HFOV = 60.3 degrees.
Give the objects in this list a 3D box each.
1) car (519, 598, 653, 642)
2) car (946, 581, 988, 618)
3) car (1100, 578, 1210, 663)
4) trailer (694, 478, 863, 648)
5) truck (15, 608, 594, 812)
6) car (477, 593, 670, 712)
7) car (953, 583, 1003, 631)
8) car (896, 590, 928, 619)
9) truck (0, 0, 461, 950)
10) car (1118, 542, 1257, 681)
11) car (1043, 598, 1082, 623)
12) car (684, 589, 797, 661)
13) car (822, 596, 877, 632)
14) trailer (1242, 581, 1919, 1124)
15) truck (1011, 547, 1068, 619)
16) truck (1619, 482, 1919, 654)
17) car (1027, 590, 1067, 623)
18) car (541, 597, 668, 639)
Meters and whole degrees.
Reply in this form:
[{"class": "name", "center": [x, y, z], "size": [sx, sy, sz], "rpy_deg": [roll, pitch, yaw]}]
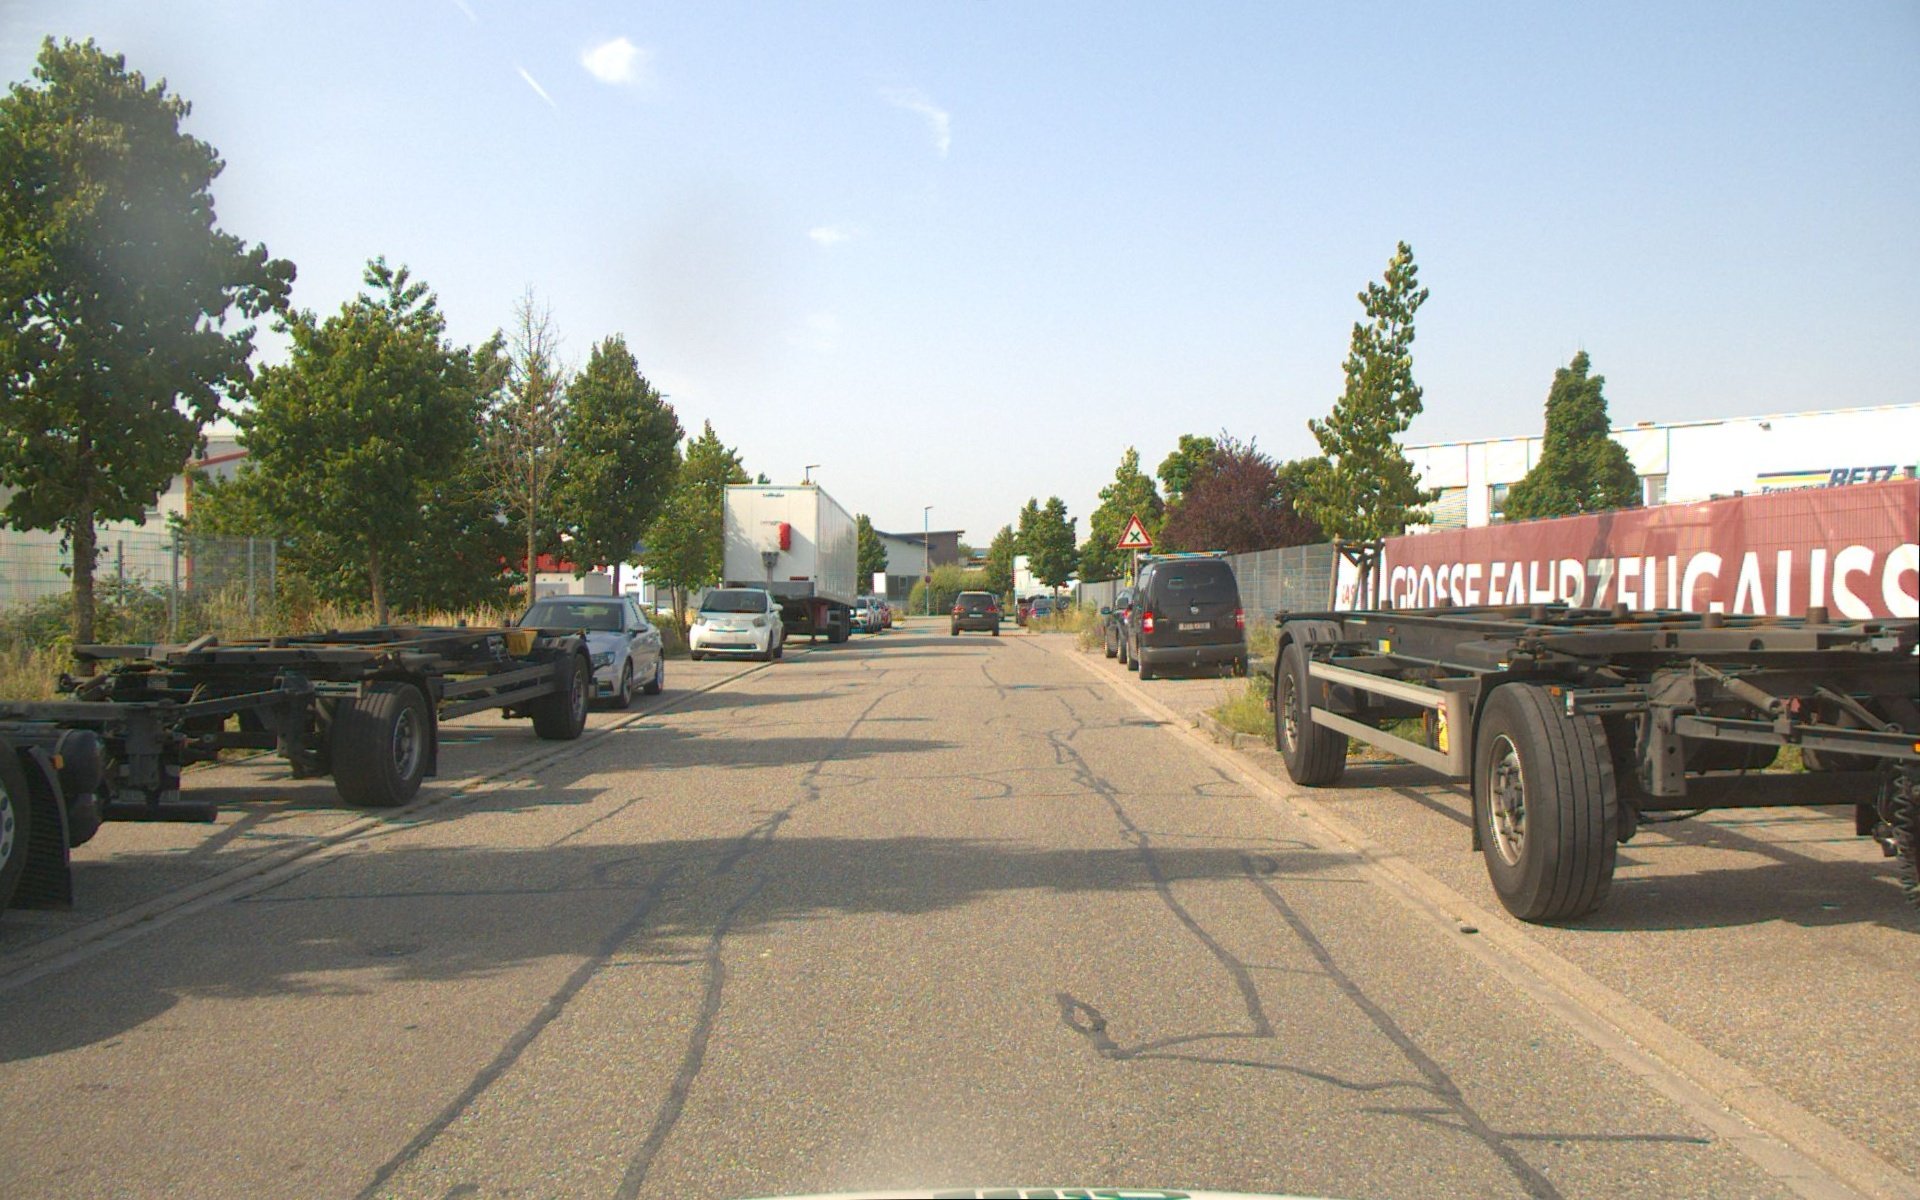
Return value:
[{"class": "car", "center": [-12.115, 0.639, 53.681], "size": [3.902, 1.363, 1.618], "rpy_deg": [0, 0, 7]}, {"class": "car", "center": [0.376, -0.059, 83.646], "size": [1.952, 1.836, 4.002], "rpy_deg": [0, 1, 3]}, {"class": "car", "center": [3.793, 0.358, 32.724], "size": [1.781, 1.474, 3.802], "rpy_deg": [-4, 1, 2]}, {"class": "trailer", "center": [-5.140, -0.975, 50.016], "size": [3.333, 4.416, 13.921], "rpy_deg": [0, 0, 1]}, {"class": "truck", "center": [-5.171, 0.763, 14.501], "size": [2.472, 1.287, 6.526], "rpy_deg": [0, 0, 0]}, {"class": "car", "center": [-5.121, 0.645, 22.445], "size": [1.847, 1.461, 3.998], "rpy_deg": [0, 0, -3]}, {"class": "car", "center": [0.736, 0.238, 65.760], "size": [1.952, 1.836, 4.001], "rpy_deg": [0, 1, 1]}, {"class": "car", "center": [-3.068, 0.281, 106.419], "size": [1.952, 1.803, 4.000], "rpy_deg": [0, 0, 0]}, {"class": "truck", "center": [-5.305, -0.543, 6.189], "size": [2.571, 3.997, 12.921], "rpy_deg": [0, 0, 2]}, {"class": "car", "center": [3.665, 0.149, 27.281], "size": [1.781, 2.012, 4.001], "rpy_deg": [-4, 0, 2]}, {"class": "car", "center": [7.518, 0.759, 120.990], "size": [1.951, 1.803, 4.002], "rpy_deg": [0, 0, 17]}, {"class": "car", "center": [-4.684, 0.510, 35.823], "size": [1.773, 1.452, 4.001], "rpy_deg": [0, 0, 2]}, {"class": "car", "center": [-4.957, 0.609, 74.783], "size": [1.951, 1.549, 4.002], "rpy_deg": [0, 0, 4]}, {"class": "trailer", "center": [3.670, 0.664, 9.278], "size": [2.569, 1.412, 9.454], "rpy_deg": [-2, 0, 0]}, {"class": "truck", "center": [4.261, -0.907, 89.453], "size": [2.827, 3.649, 8.064], "rpy_deg": [-2, 0, 2]}, {"class": "truck", "center": [21.519, -0.771, 41.408], "size": [9.155, 4.042, 2.442], "rpy_deg": [0, 0, 44]}, {"class": "car", "center": [4.111, 0.280, 78.653], "size": [1.780, 1.474, 3.802], "rpy_deg": [-2, 1, 2]}, {"class": "car", "center": [-12.070, 0.601, 56.268], "size": [3.902, 1.363, 1.618], "rpy_deg": [0, 0, 7]}]
